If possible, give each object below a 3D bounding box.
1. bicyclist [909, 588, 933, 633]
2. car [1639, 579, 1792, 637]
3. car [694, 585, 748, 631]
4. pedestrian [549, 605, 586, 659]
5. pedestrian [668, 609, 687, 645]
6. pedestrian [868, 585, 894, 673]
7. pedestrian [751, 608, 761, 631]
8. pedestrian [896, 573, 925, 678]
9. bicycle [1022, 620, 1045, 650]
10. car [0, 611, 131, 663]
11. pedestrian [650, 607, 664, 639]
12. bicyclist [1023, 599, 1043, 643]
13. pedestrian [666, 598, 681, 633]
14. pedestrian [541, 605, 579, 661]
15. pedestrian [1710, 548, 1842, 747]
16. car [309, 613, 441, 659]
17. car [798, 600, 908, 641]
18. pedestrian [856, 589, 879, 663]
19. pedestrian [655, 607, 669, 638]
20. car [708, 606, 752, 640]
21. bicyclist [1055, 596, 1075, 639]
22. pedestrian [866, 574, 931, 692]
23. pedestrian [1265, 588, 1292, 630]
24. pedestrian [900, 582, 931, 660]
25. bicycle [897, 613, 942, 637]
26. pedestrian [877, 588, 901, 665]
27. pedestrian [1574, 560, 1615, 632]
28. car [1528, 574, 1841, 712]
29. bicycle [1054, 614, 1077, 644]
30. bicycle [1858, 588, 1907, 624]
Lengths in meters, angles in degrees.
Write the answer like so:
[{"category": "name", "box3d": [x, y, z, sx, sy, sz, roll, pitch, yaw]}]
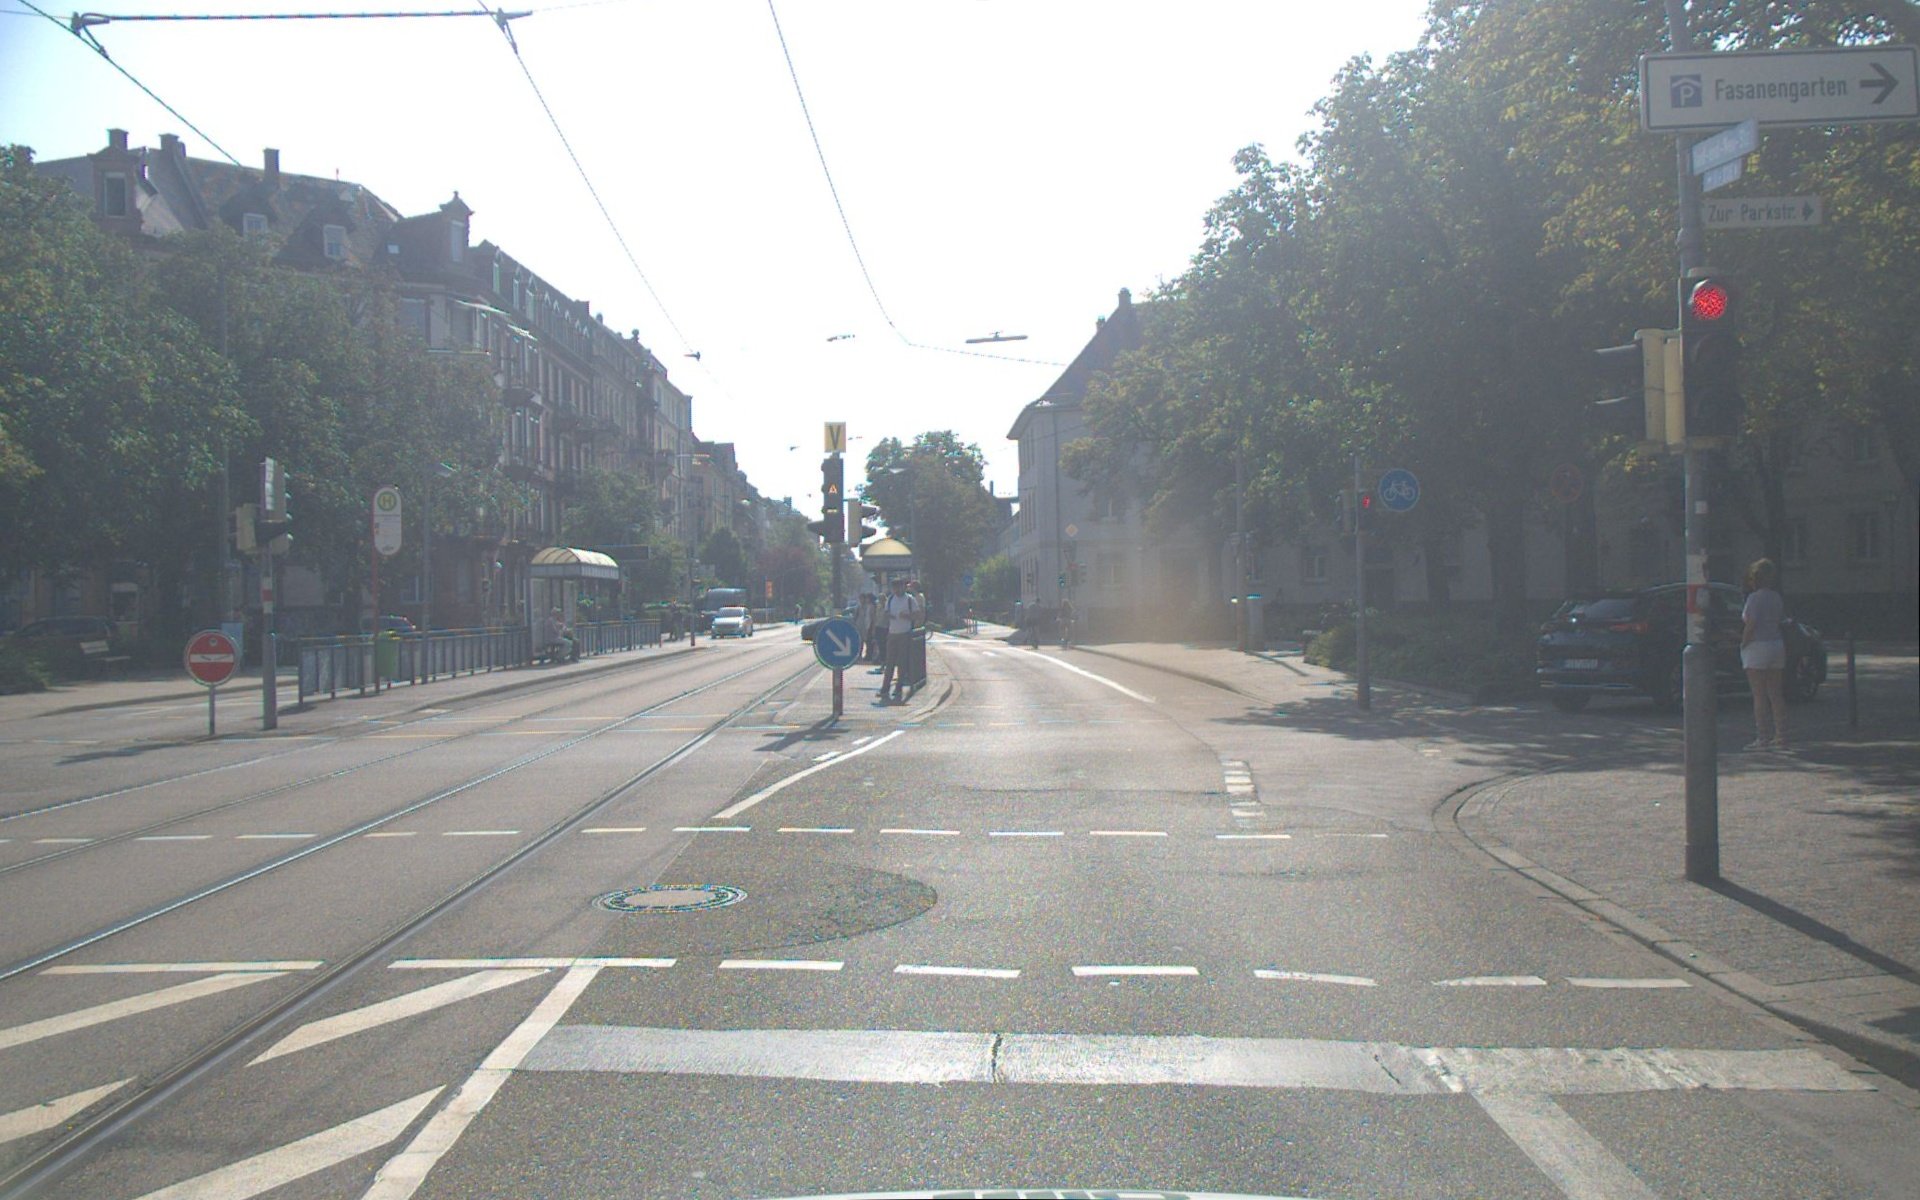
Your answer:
[{"category": "bicyclist", "box3d": [-1.682, 0.431, 70.811, 0.966, 1.890, 0.493, -1, 0, 1]}, {"category": "car", "box3d": [20.413, 0.222, 44.880, 1.721, 1.453, 4.135, -2, 0, -10]}, {"category": "car", "box3d": [-14.584, 0.463, 101.196, 2.298, 2.708, 5.106, -1, 0, 2]}, {"category": "pedestrian", "box3d": [-10.171, 0.823, 42.861, 0.812, 1.382, 0.775, -1, 0, -6]}, {"category": "pedestrian", "box3d": [-14.103, 1.352, 82.576, 0.734, 1.761, 0.771, -1, 0, 1]}, {"category": "pedestrian", "box3d": [-1.643, 0.601, 34.439, 0.494, 1.790, 0.534, 1, 2, -1]}, {"category": "pedestrian", "box3d": [-16.106, 1.558, 130.739, 0.736, 1.761, 0.769, -1, 0, -10]}, {"category": "pedestrian", "box3d": [-0.889, 0.451, 29.755, 0.494, 1.866, 0.534, 1, 2, -1]}, {"category": "bicycle", "box3d": [2.572, 1.232, 58.007, 0.616, 0.995, 1.769, -2, 0, -3]}, {"category": "car", "box3d": [-30.450, 1.232, 55.670, 4.255, 1.596, 1.990, -1, 0, -18]}, {"category": "pedestrian", "box3d": [-17.172, 1.297, 93.801, 0.736, 1.761, 0.769, -1, 0, -10]}, {"category": "bicyclist", "box3d": [2.565, 0.740, 58.007, 0.616, 1.534, 0.678, -2, 0, -3]}, {"category": "pedestrian", "box3d": [-14.730, 0.795, 85.008, 0.736, 1.761, 0.769, -1, 0, -10]}, {"category": "pedestrian", "box3d": [-10.123, 0.818, 41.886, 0.812, 1.382, 0.775, -1, 0, -6]}, {"category": "pedestrian", "box3d": [7.466, 0.423, 15.162, 0.736, 1.761, 0.769, -1, 0, -10]}, {"category": "car", "box3d": [-22.077, 1.334, 62.487, 4.302, 1.596, 1.968, -1, 0, -44]}, {"category": "car", "box3d": [-4.411, 0.839, 68.498, 4.230, 1.596, 2.002, -1, 0, 8]}, {"category": "pedestrian", "box3d": [-2.274, 0.630, 40.659, 0.521, 1.790, 0.545, 1, 2, 0]}, {"category": "pedestrian", "box3d": [-17.397, 1.309, 96.624, 0.736, 1.761, 0.769, -1, 0, -10]}, {"category": "car", "box3d": [-11.950, 1.188, 86.102, 1.765, 1.682, 3.642, -1, 0, -1]}, {"category": "bicyclist", "box3d": [3.599, 0.587, 56.732, 0.547, 1.441, 0.871, -2, 0, -3]}, {"category": "pedestrian", "box3d": [-0.947, 0.488, 25.487, 0.687, 1.755, 0.746, 2, 2, 31]}, {"category": "pedestrian", "box3d": [13.686, 0.399, 70.996, 0.875, 1.771, 0.774, -2, 0, 31]}, {"category": "pedestrian", "box3d": [-1.036, 0.491, 38.651, 0.694, 1.790, 0.534, 1, 2, -2]}, {"category": "bicycle", "box3d": [-1.722, 1.076, 70.806, 1.896, 0.995, 0.496, -1, 0, 1]}, {"category": "pedestrian", "box3d": [-1.690, 0.621, 39.255, 0.532, 1.790, 0.534, 1, 2, -1]}, {"category": "pedestrian", "box3d": [15.972, -0.092, 41.634, 0.872, 1.771, 0.776, -1, 0, 18]}, {"category": "car", "box3d": [9.381, 0.492, 21.329, 4.172, 1.541, 1.595, -2, 1, -31]}, {"category": "bicycle", "box3d": [3.616, 0.989, 56.717, 0.547, 0.995, 1.855, -2, 0, -3]}, {"category": "bicycle", "box3d": [26.264, 0.167, 47.121, 0.416, 0.995, 1.554, -2, 0, -4]}]
